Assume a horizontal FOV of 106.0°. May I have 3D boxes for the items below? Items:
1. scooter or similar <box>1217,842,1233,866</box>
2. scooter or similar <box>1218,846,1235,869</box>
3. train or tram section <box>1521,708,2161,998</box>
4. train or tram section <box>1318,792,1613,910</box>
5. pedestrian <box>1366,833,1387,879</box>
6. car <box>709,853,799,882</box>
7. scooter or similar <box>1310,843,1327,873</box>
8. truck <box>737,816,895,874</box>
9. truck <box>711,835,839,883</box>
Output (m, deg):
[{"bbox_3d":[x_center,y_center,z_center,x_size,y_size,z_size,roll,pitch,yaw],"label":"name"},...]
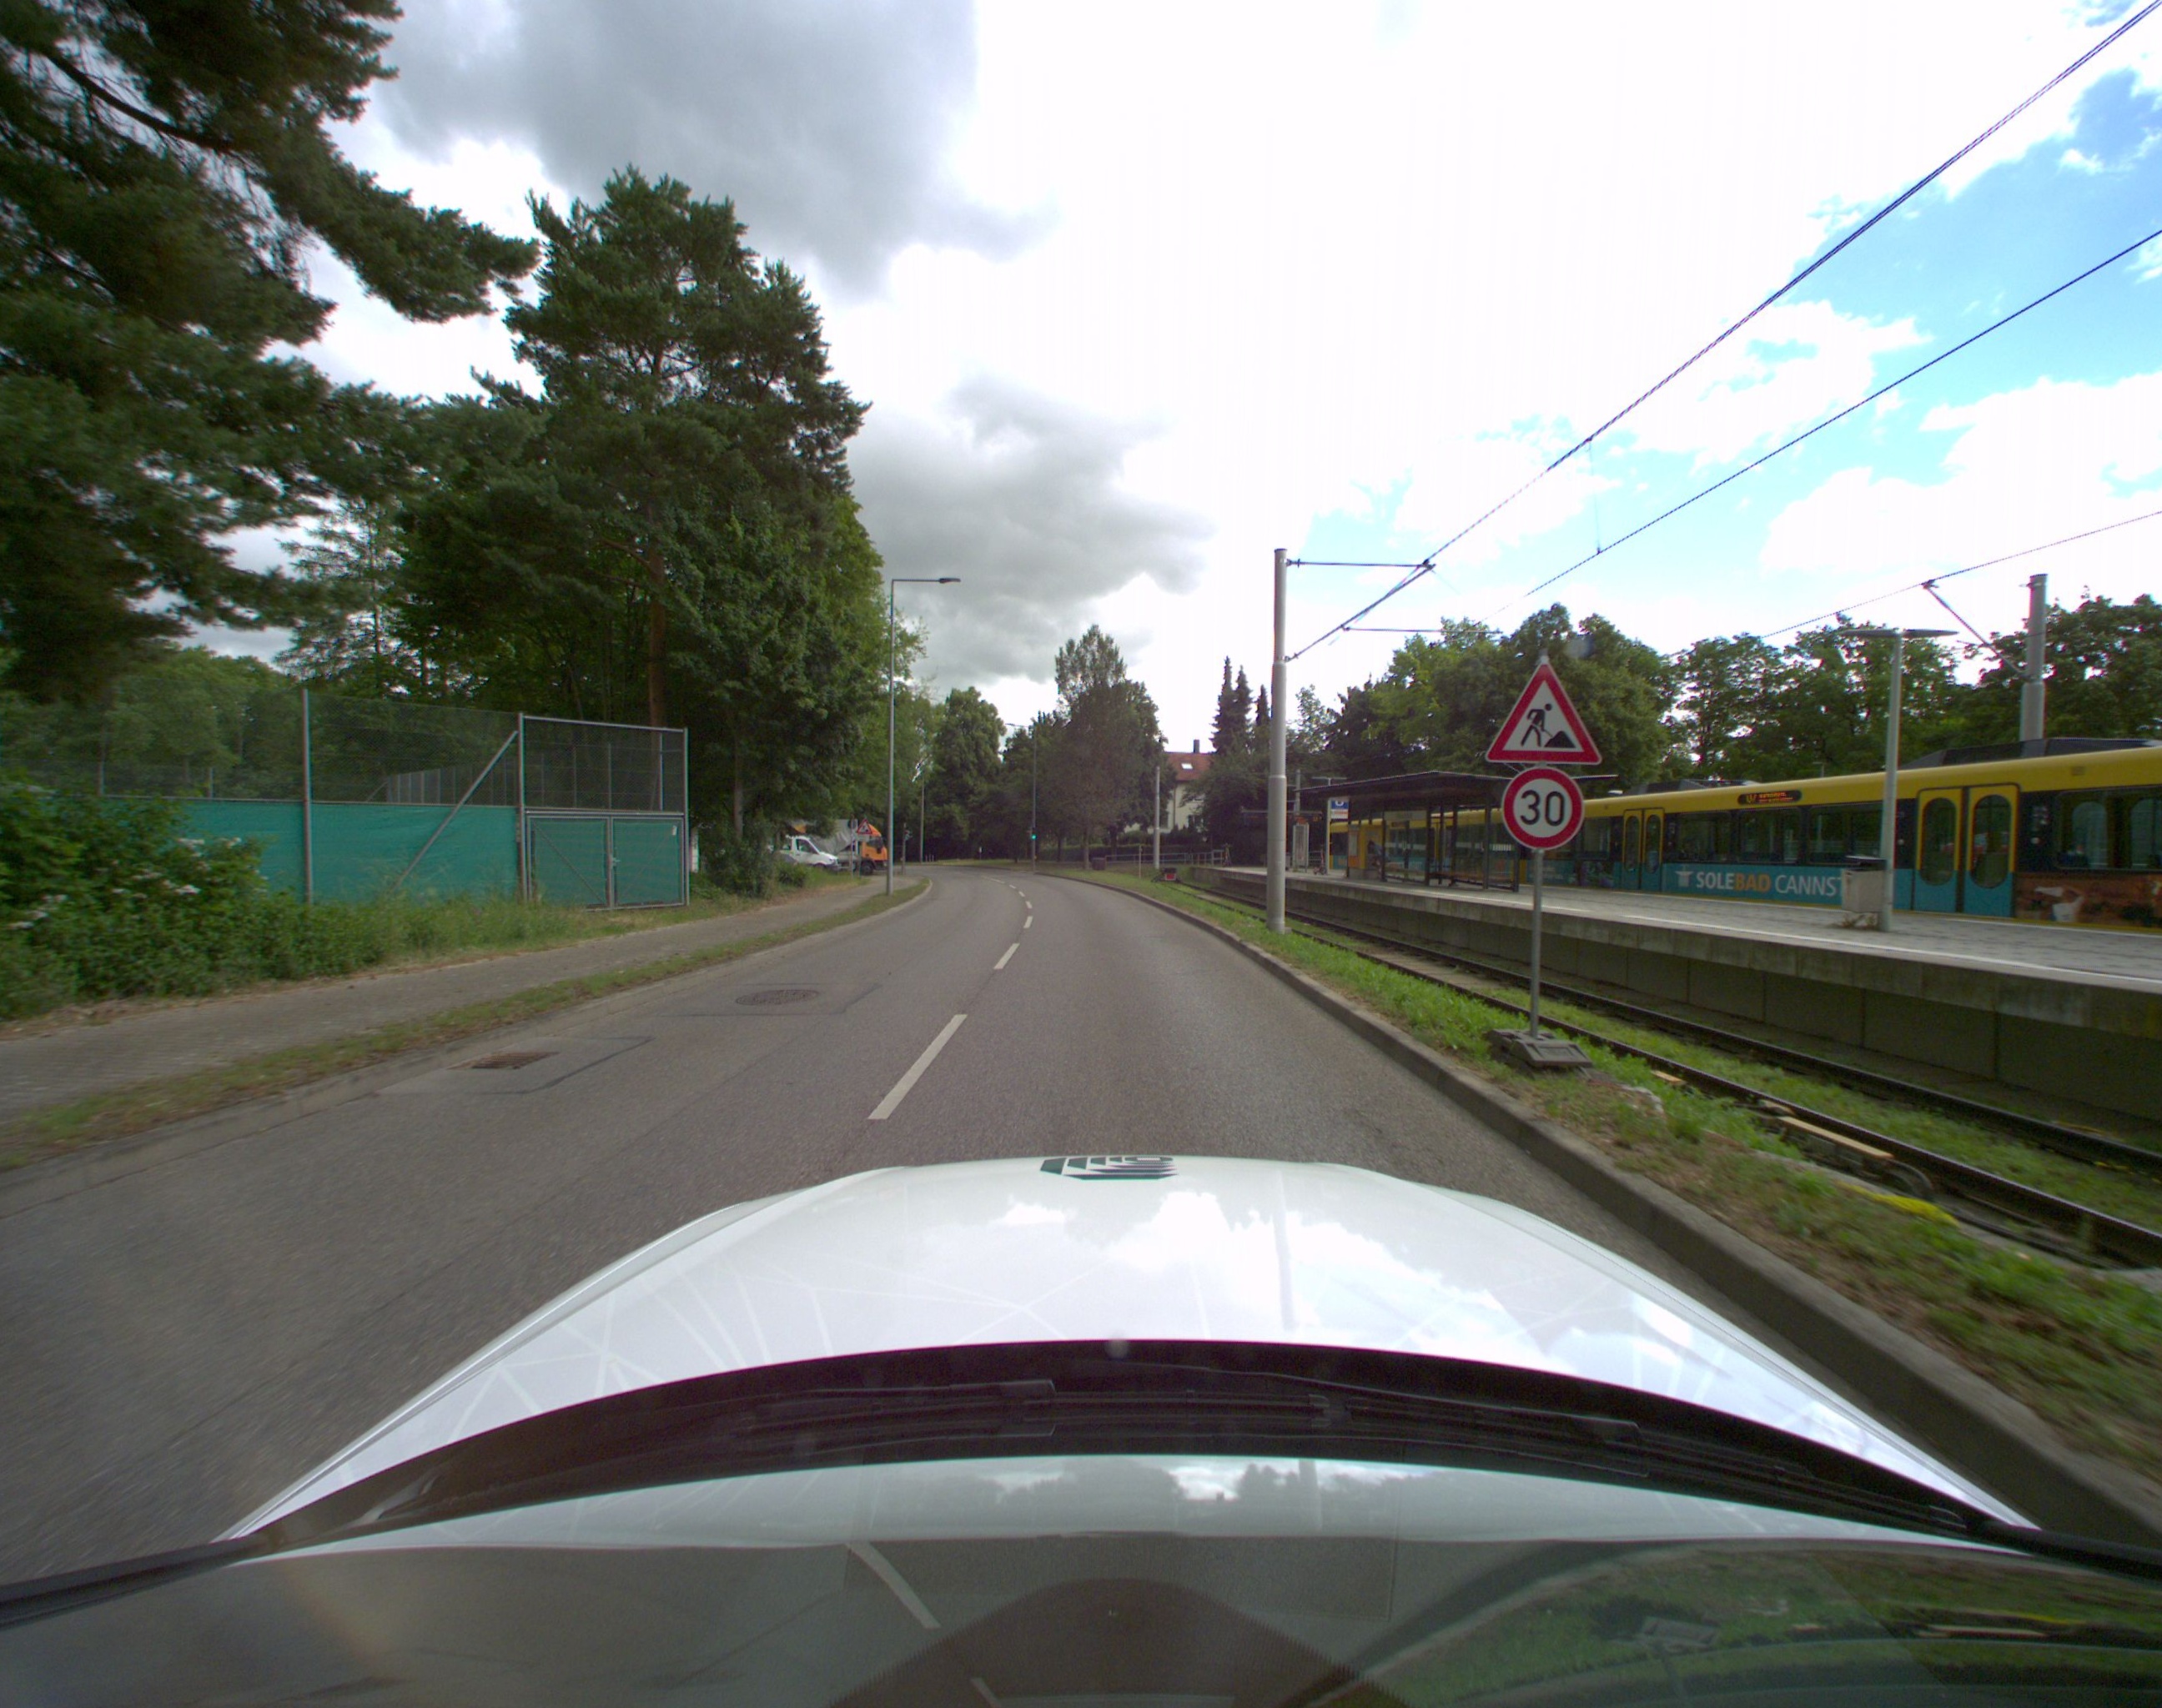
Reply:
[{"bbox_3d":[7.742,0.021,43.892,0.430,1.253,1.250,-1,-2,-10],"label":"scooter or similar"},{"bbox_3d":[8.241,0.193,46.179,0.430,1.253,1.249,0,-2,-14],"label":"scooter or similar"},{"bbox_3d":[15.234,-0.024,15.573,2.805,3.736,19.506,2,0,-1],"label":"train or tram section"},{"bbox_3d":[14.814,-0.191,35.065,2.806,3.588,19.499,2,0,-2],"label":"train or tram section"},{"bbox_3d":[10.217,0.073,28.175,0.618,1.573,0.668,0,-1,16],"label":"pedestrian"},{"bbox_3d":[-16.061,0.695,40.069,4.004,1.327,1.703,1,-3,-24],"label":"car"},{"bbox_3d":[9.886,0.170,33.912,0.367,1.242,1.145,0,0,-2],"label":"scooter or similar"},{"bbox_3d":[-16.599,-0.510,51.602,9.248,3.531,2.551,0,-1,-16],"label":"truck"},{"bbox_3d":[-16.650,0.298,44.690,6.403,2.416,2.110,1,-2,-18],"label":"truck"}]
